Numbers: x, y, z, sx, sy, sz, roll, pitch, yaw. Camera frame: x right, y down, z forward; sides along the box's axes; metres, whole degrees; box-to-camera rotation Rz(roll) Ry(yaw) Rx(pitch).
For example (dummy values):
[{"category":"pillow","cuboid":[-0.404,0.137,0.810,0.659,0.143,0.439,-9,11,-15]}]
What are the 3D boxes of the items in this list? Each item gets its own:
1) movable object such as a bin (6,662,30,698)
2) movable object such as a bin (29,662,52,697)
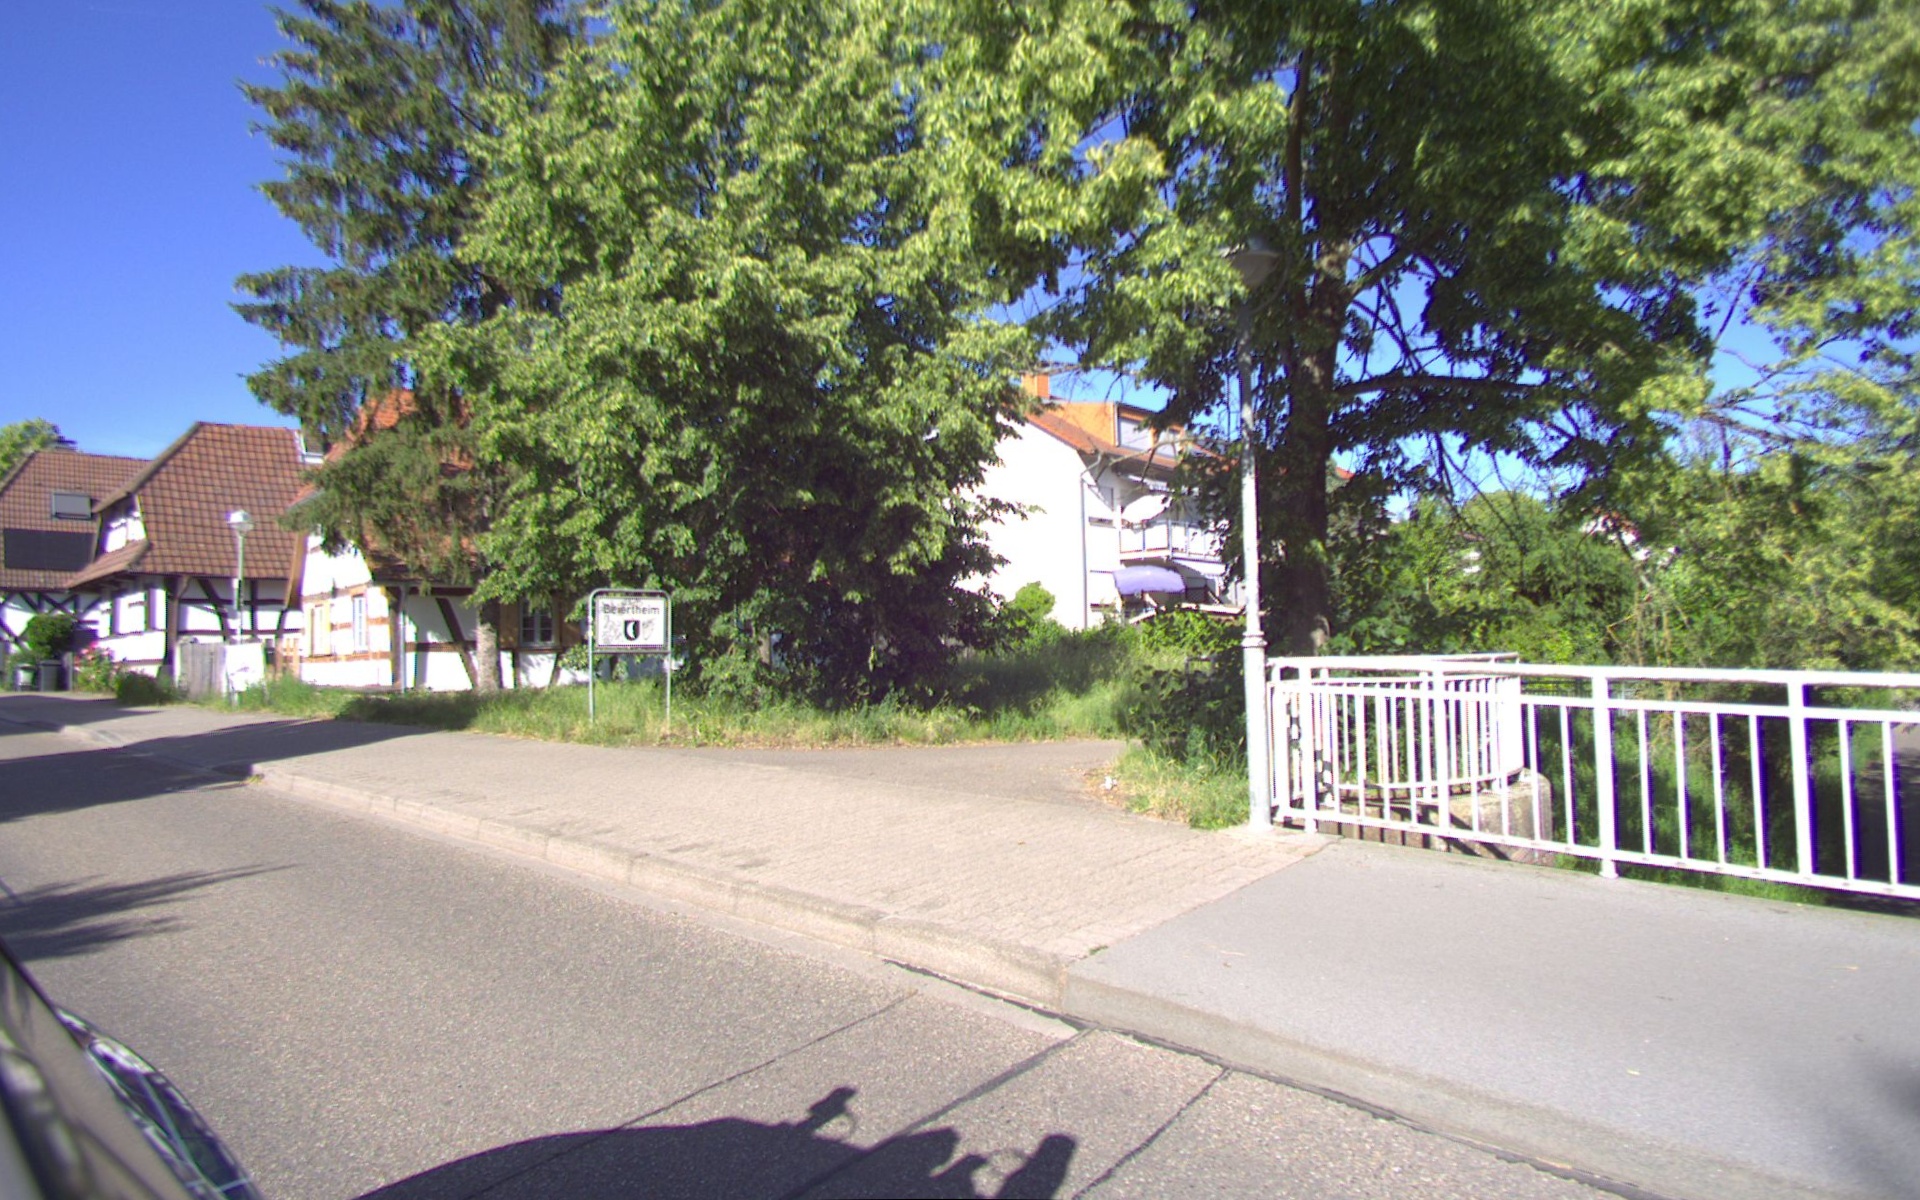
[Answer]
[{"category":"movable object such as a bin","cuboid":[-31.187,2.652,33.501,0.667,1.149,0.471,-2,-3,40]},{"category":"movable object such as a bin","cuboid":[-30.832,2.665,33.946,0.667,1.149,0.471,-2,-3,40]}]
